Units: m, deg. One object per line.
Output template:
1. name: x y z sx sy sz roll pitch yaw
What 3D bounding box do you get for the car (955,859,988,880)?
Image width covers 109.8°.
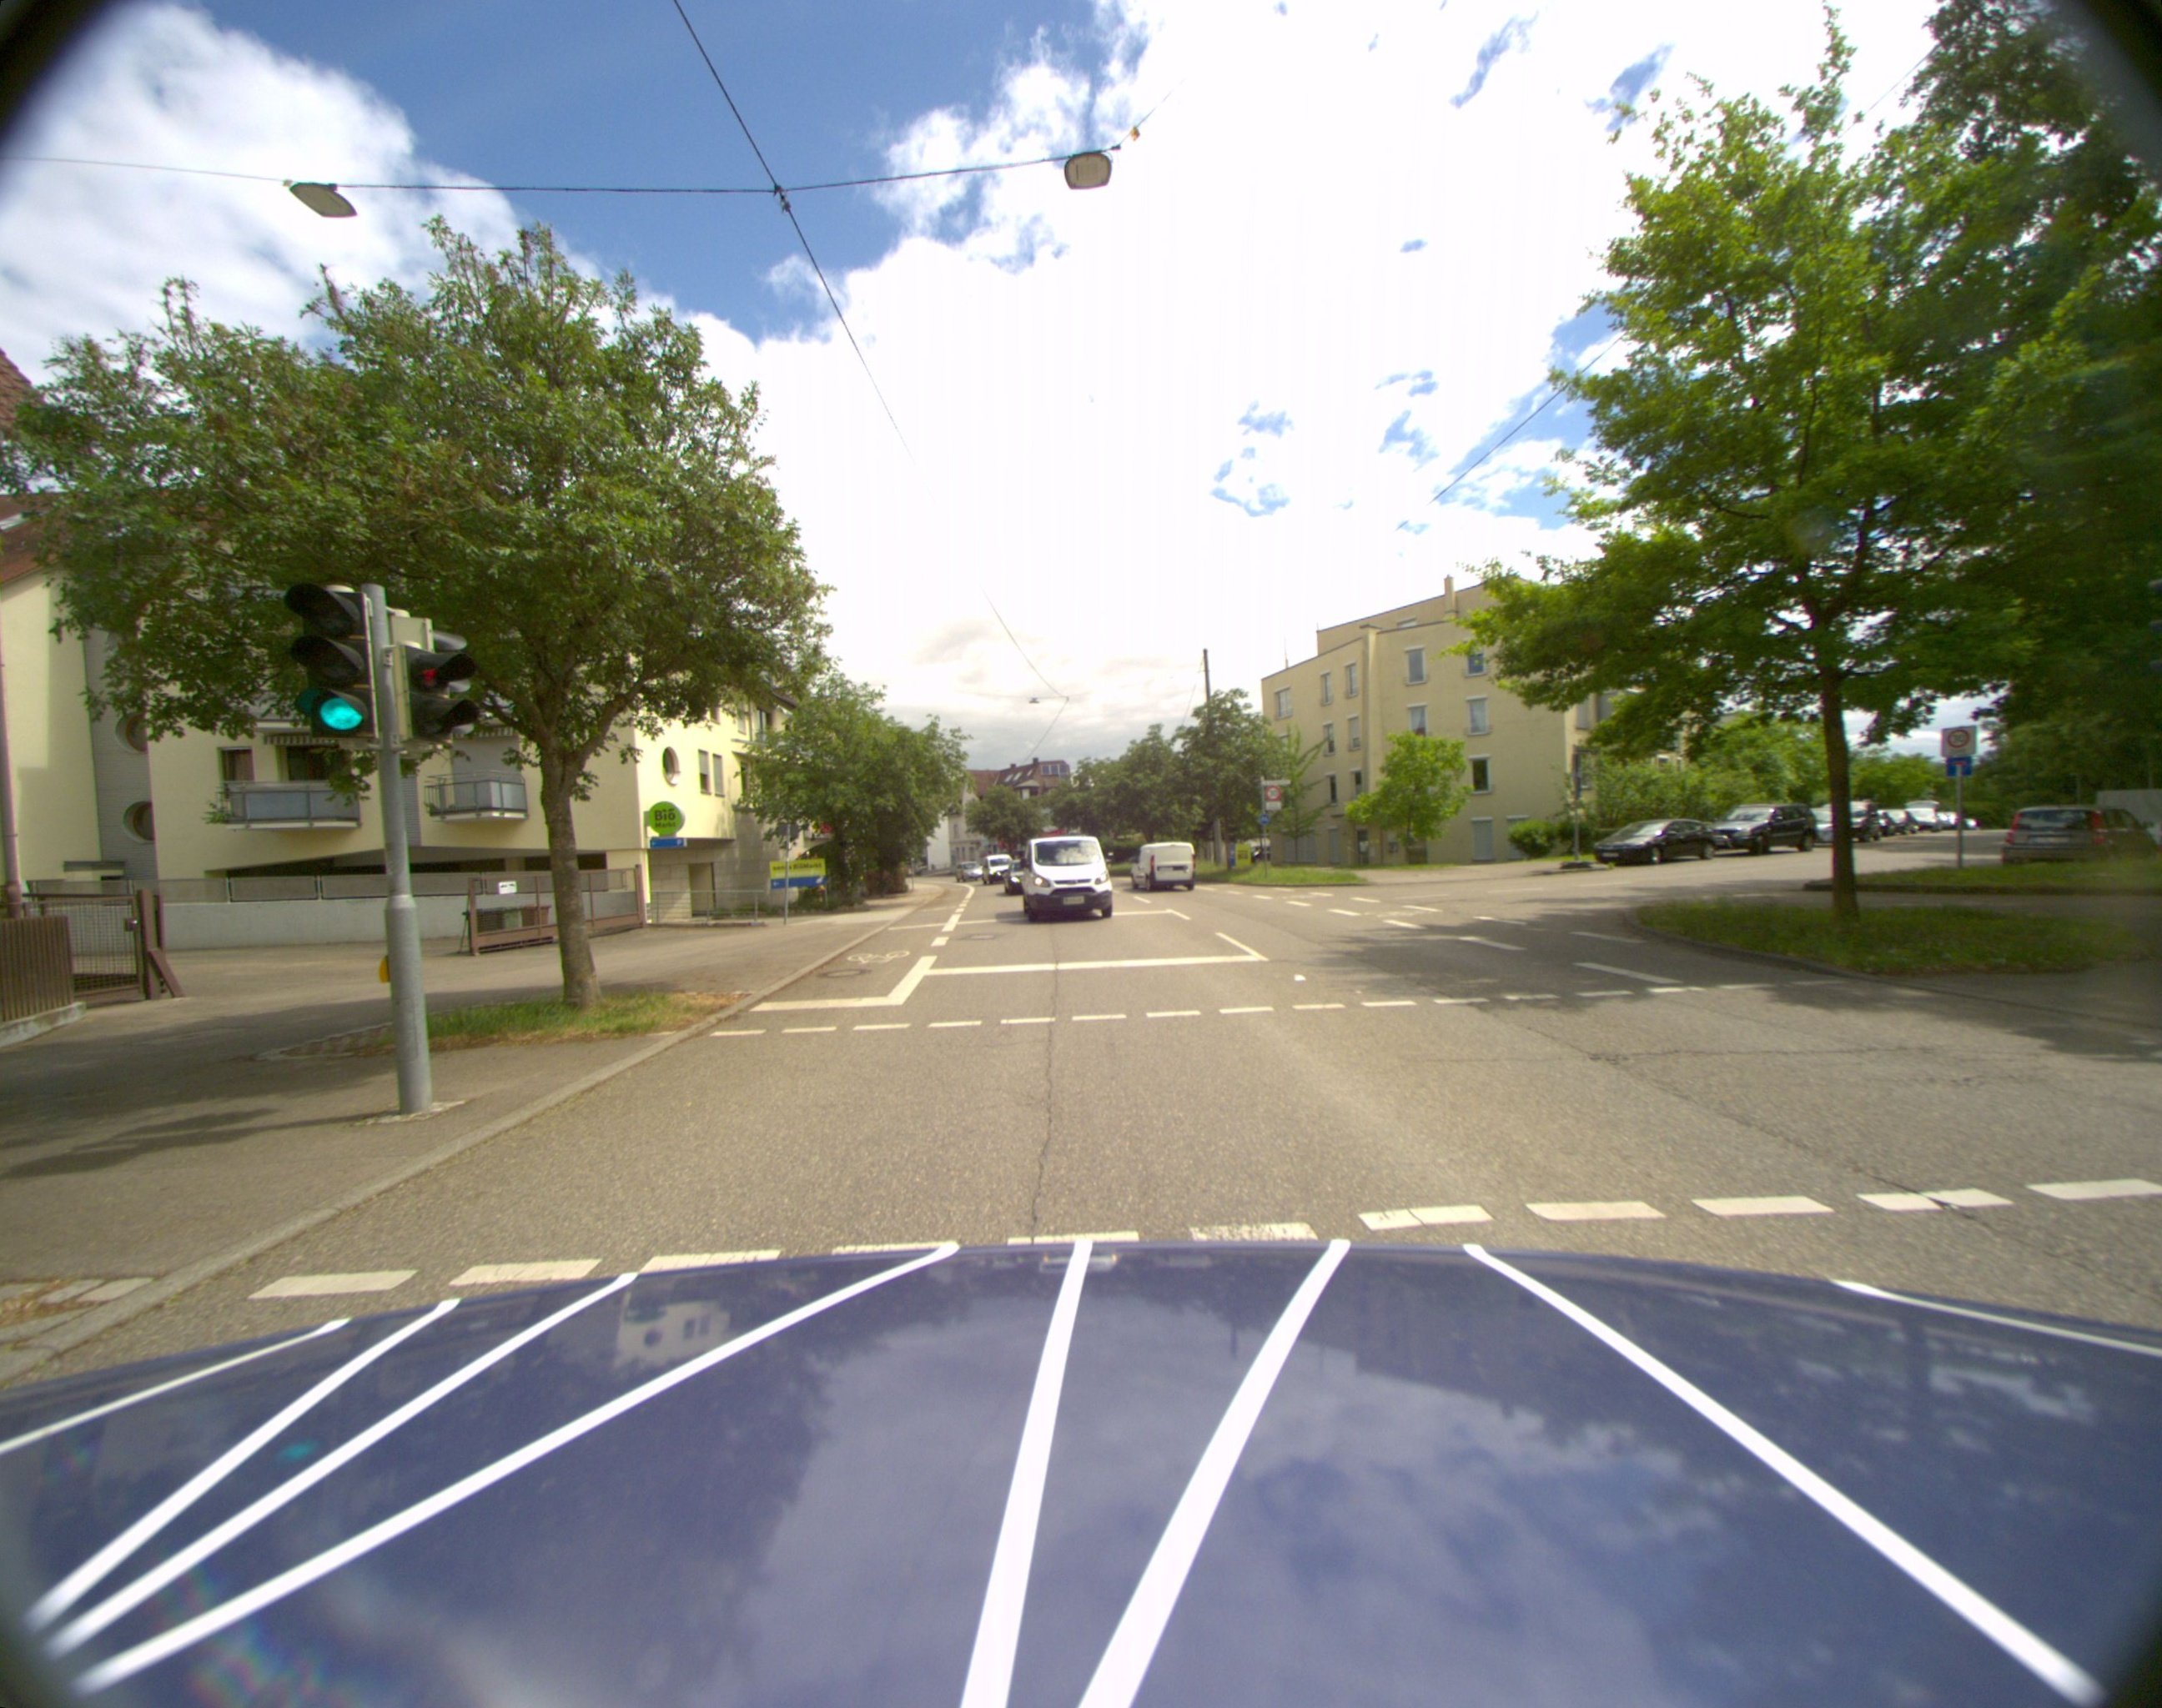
1. car: -8.572 1.180 59.407 1.695 1.478 3.993 -6 2 -19

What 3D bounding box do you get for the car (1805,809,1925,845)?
1. car: 30.900 -1.059 29.953 4.004 1.324 1.970 -2 1 -22

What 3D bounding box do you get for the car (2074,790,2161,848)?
1. car: 35.972 -1.222 25.972 4.426 1.783 2.121 -4 1 -42

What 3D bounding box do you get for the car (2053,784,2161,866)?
1. car: 27.742 -0.808 19.884 4.003 1.834 1.842 -6 2 -23

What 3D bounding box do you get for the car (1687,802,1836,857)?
1. car: 24.687 -0.890 27.576 4.796 1.594 2.097 -5 3 -22

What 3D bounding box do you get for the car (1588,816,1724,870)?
1. car: 19.488 -0.375 25.764 4.155 1.390 1.734 -6 2 -22

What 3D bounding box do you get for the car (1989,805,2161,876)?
1. car: 23.784 -0.330 18.054 4.004 1.444 1.693 -3 1 -23

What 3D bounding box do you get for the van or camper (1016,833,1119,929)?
1. van or camper: -0.508 0.604 19.514 2.028 2.002 5.099 -4 0 -7

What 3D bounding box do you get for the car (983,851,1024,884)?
1. car: -4.889 0.813 47.685 1.853 1.805 3.995 -6 2 -13

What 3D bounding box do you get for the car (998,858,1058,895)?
1. car: -2.333 0.945 32.455 1.842 1.382 3.996 -3 0 -13

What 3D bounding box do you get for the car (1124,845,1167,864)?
1. car: 6.660 0.027 78.753 3.979 1.672 1.715 -4 1 -13

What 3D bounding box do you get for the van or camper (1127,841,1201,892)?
1. van or camper: 3.186 0.464 29.945 1.866 1.766 4.377 -3 0 -7

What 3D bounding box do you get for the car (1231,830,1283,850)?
1. car: 13.591 -1.117 58.610 4.008 1.411 1.789 -1 -1 -39
